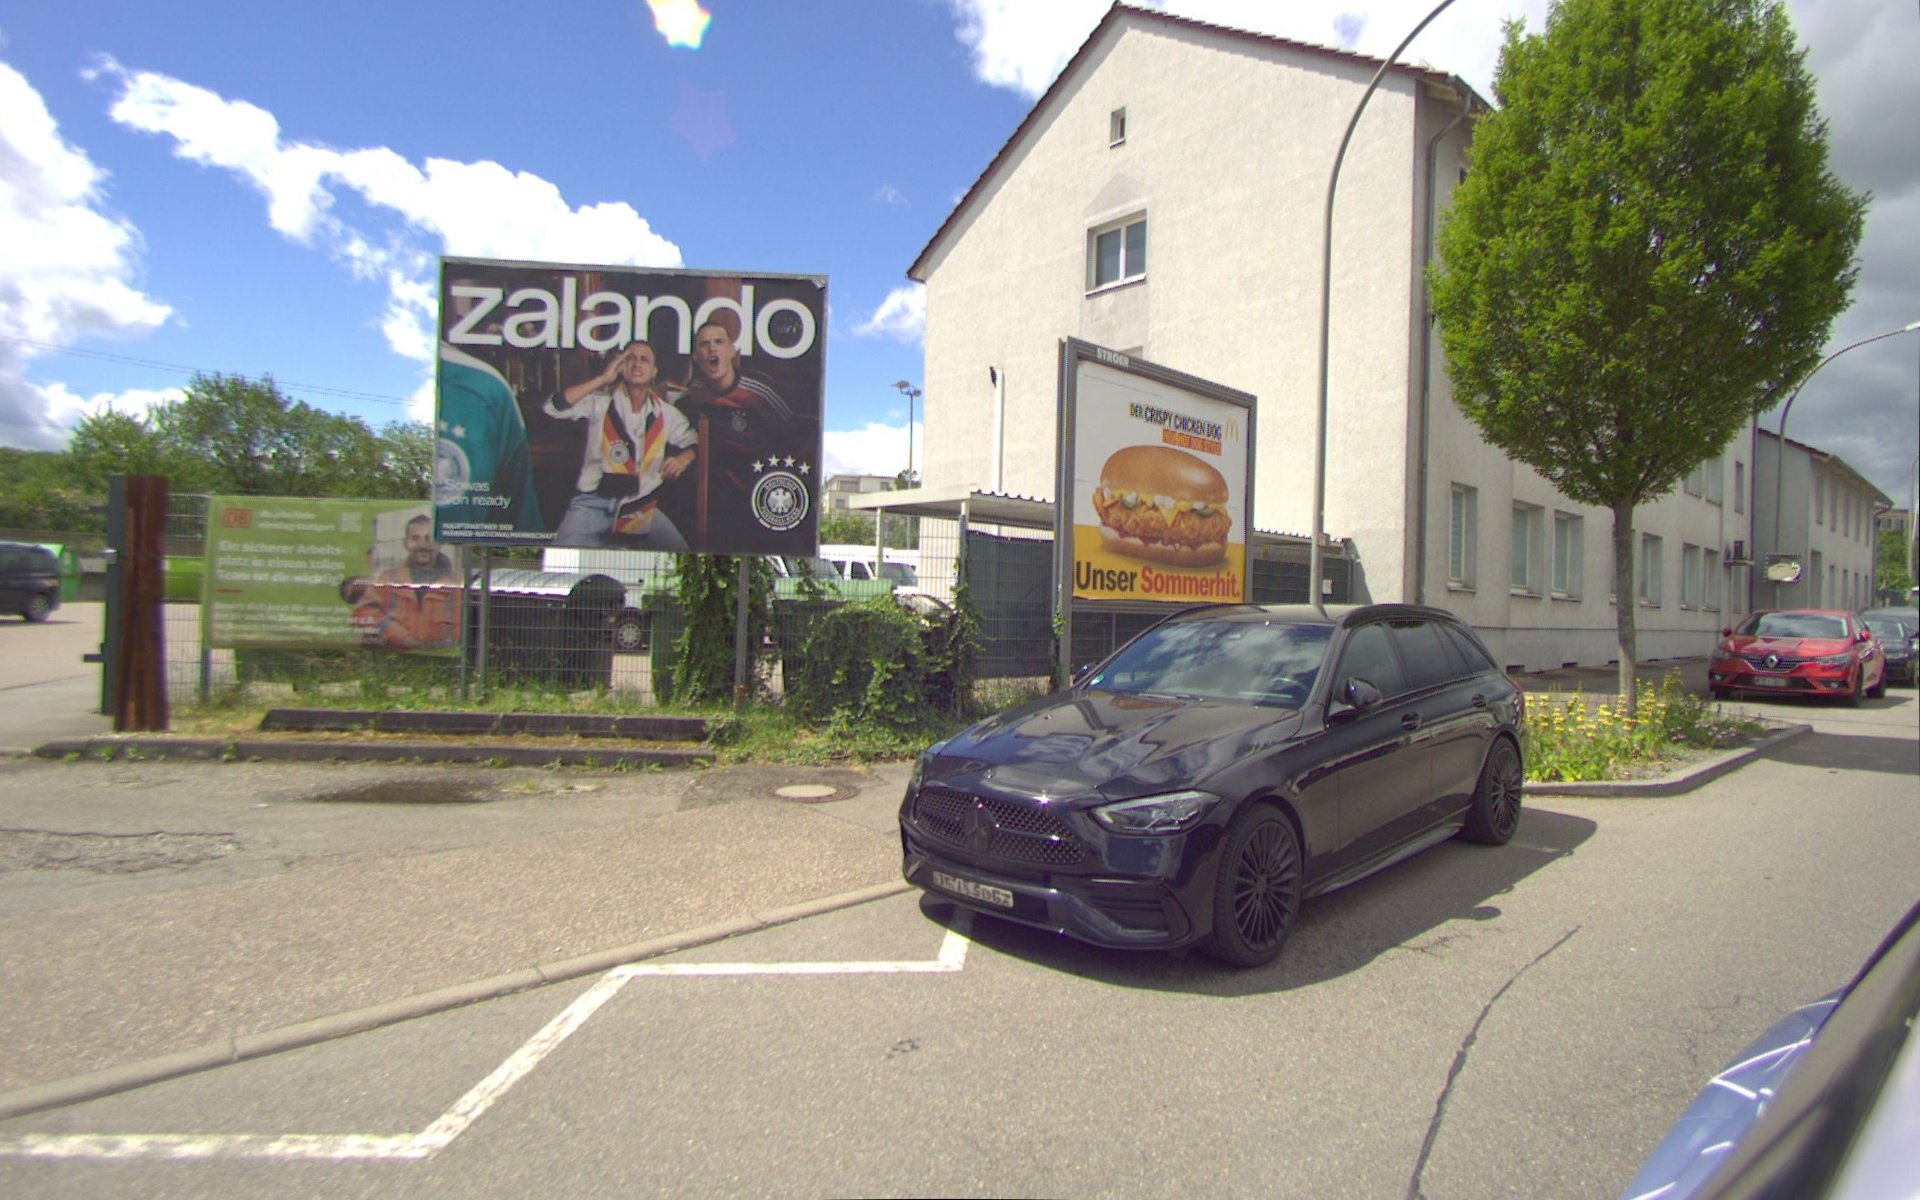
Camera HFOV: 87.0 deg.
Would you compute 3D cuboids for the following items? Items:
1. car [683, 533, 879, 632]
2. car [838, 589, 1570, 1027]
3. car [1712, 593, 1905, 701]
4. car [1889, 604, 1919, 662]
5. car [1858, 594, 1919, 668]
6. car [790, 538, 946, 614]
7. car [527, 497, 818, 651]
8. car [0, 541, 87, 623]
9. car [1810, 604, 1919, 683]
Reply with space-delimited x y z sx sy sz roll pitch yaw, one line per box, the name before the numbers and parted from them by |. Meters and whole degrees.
car | -5.120 -0.520 28.175 2.239 2.481 6.165 -2 3 -45
car | 1.712 0.697 5.745 4.629 1.484 1.793 -1 1 -43
car | 13.642 0.675 16.192 4.186 1.491 1.738 1 0 -41
car | 27.059 0.885 27.899 5.000 1.529 1.706 1 -2 -43
car | 22.899 0.726 24.326 1.677 1.659 4.718 -1 -2 45
car | -2.796 -0.728 29.766 1.966 2.060 4.958 -2 2 -42
car | -5.855 -0.581 21.119 5.364 2.802 2.279 -2 2 -42
car | -21.930 -0.396 22.509 1.729 1.791 4.002 0 0 -4
car | 18.840 0.829 20.627 4.777 1.442 1.737 1 -1 -42
